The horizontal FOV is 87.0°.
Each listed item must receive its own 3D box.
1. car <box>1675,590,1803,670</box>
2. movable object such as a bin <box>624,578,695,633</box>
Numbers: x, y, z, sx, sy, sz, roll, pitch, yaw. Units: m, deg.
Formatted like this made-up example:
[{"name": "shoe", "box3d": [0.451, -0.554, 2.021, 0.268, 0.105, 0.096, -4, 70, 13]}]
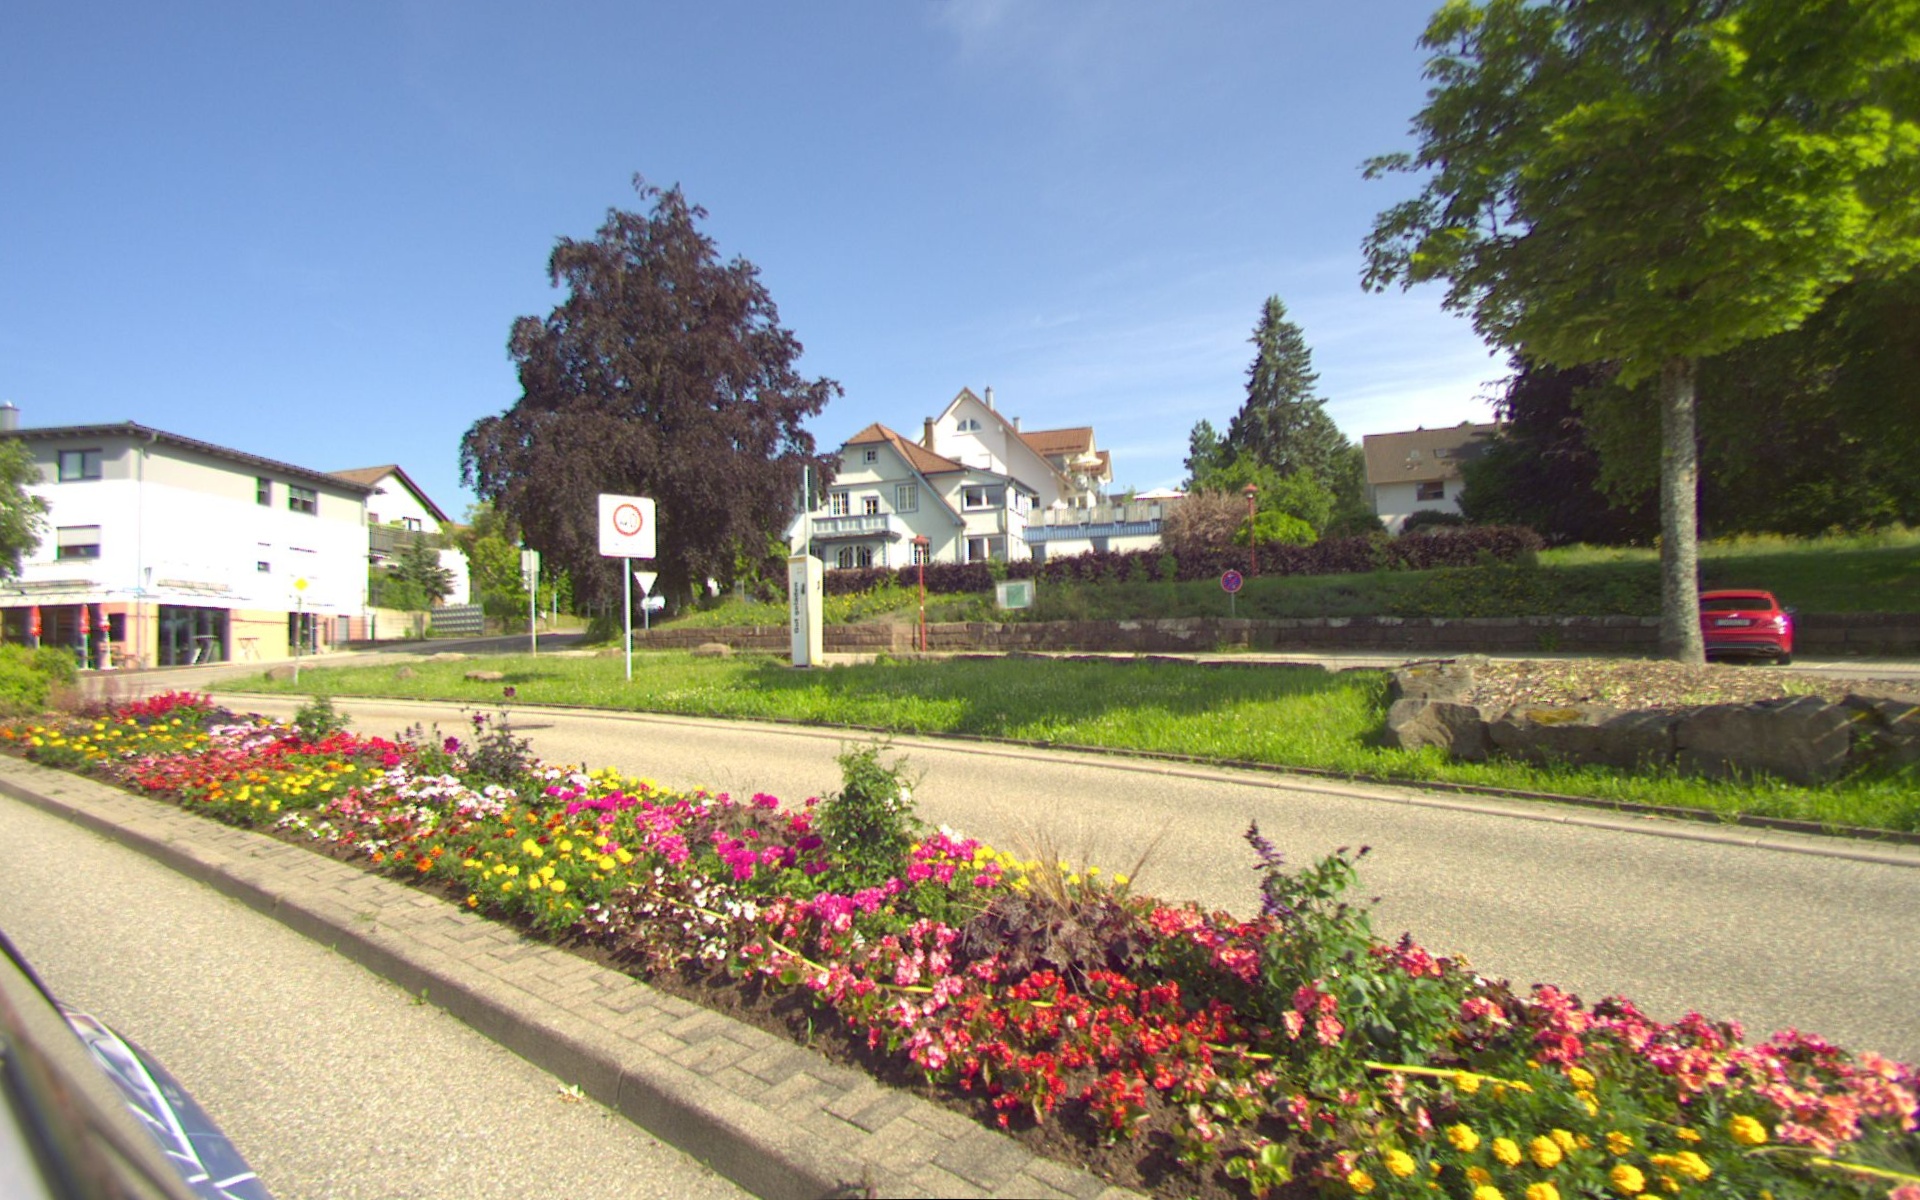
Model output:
[{"name": "car", "box3d": [15.679, 0.549, 20.382, 1.821, 1.409, 4.184, -2, -1, 38]}, {"name": "movable object such as a bin", "box3d": [-16.278, 0.268, 55.096, 1.974, 2.790, 5.098, -2, 0, 4]}]
